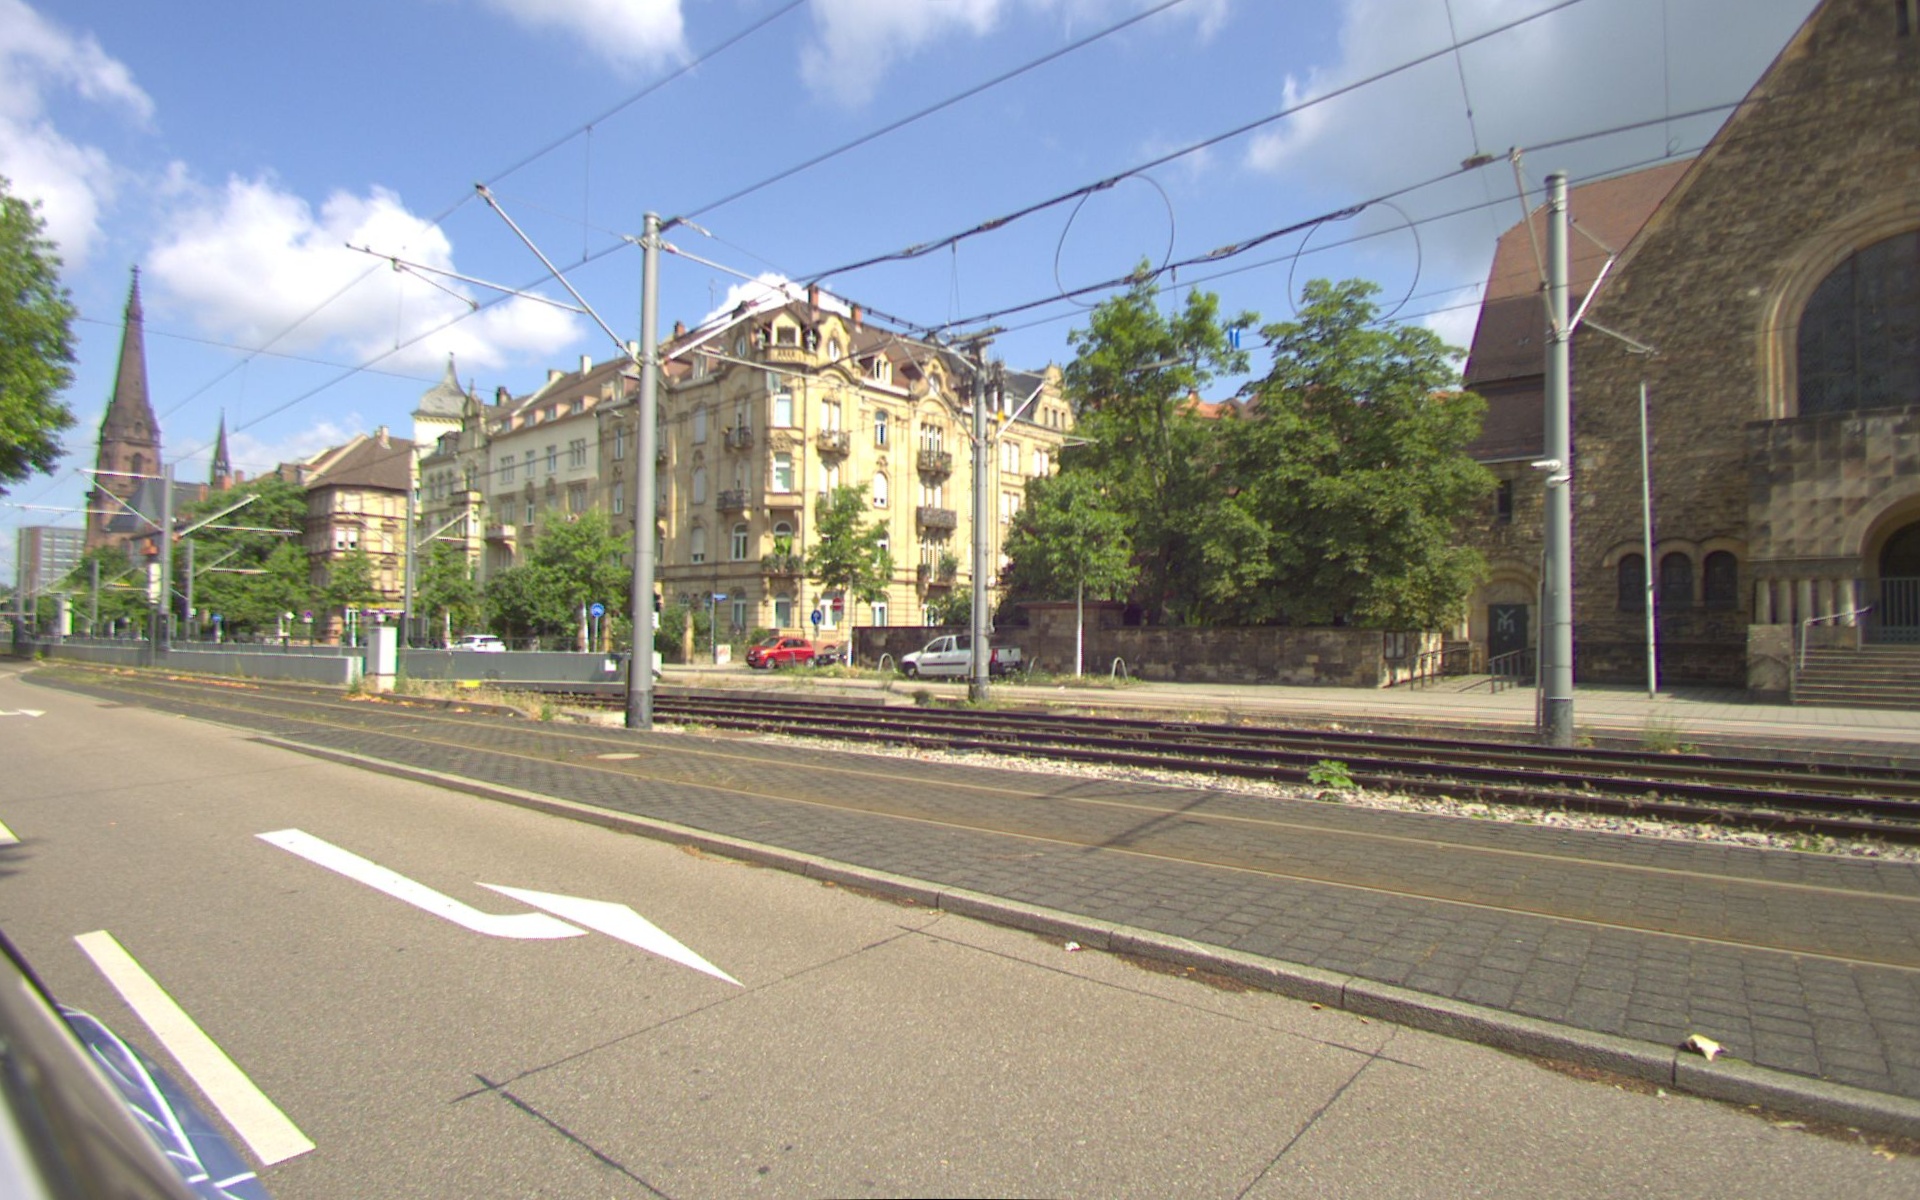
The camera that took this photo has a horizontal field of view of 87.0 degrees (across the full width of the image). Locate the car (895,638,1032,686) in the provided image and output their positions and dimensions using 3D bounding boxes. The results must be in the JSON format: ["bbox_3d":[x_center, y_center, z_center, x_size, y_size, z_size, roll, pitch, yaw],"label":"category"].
[{"bbox_3d":[0.070,2.018,33.838,4.409,1.516,1.912,-2,-3,39],"label":"car"}]

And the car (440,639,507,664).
[{"bbox_3d":[-27.776,2.926,57.739,4.308,1.338,1.734,-2,-3,39],"label":"car"}]

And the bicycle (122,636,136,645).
[{"bbox_3d":[-86.927,4.223,105.873,2.140,0.986,0.767,-2,-5,41],"label":"bicycle"}]

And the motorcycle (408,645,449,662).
[{"bbox_3d":[-32.359,3.247,61.621,1.416,0.949,1.743,-2,-5,39],"label":"motorcycle"}]

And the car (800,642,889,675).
[{"bbox_3d":[-5.234,2.664,46.376,1.722,1.475,3.921,-2,-3,41],"label":"car"}]

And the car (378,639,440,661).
[{"bbox_3d":[-34.571,3.102,63.465,4.095,1.337,2.000,-2,-3,39],"label":"car"}]

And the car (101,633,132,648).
[{"bbox_3d":[-96.598,4.632,115.894,4.111,1.650,1.973,-2,-3,40],"label":"car"}]

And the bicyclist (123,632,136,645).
[{"bbox_3d":[-86.826,4.039,105.786,1.048,1.348,0.759,-2,-5,41],"label":"bicyclist"}]

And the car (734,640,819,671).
[{"bbox_3d":[-9.154,2.760,50.604,1.933,1.475,3.738,-2,-3,43],"label":"car"}]

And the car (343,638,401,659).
[{"bbox_3d":[-39.009,3.219,67.091,4.723,1.337,1.928,-2,-3,41],"label":"car"}]
